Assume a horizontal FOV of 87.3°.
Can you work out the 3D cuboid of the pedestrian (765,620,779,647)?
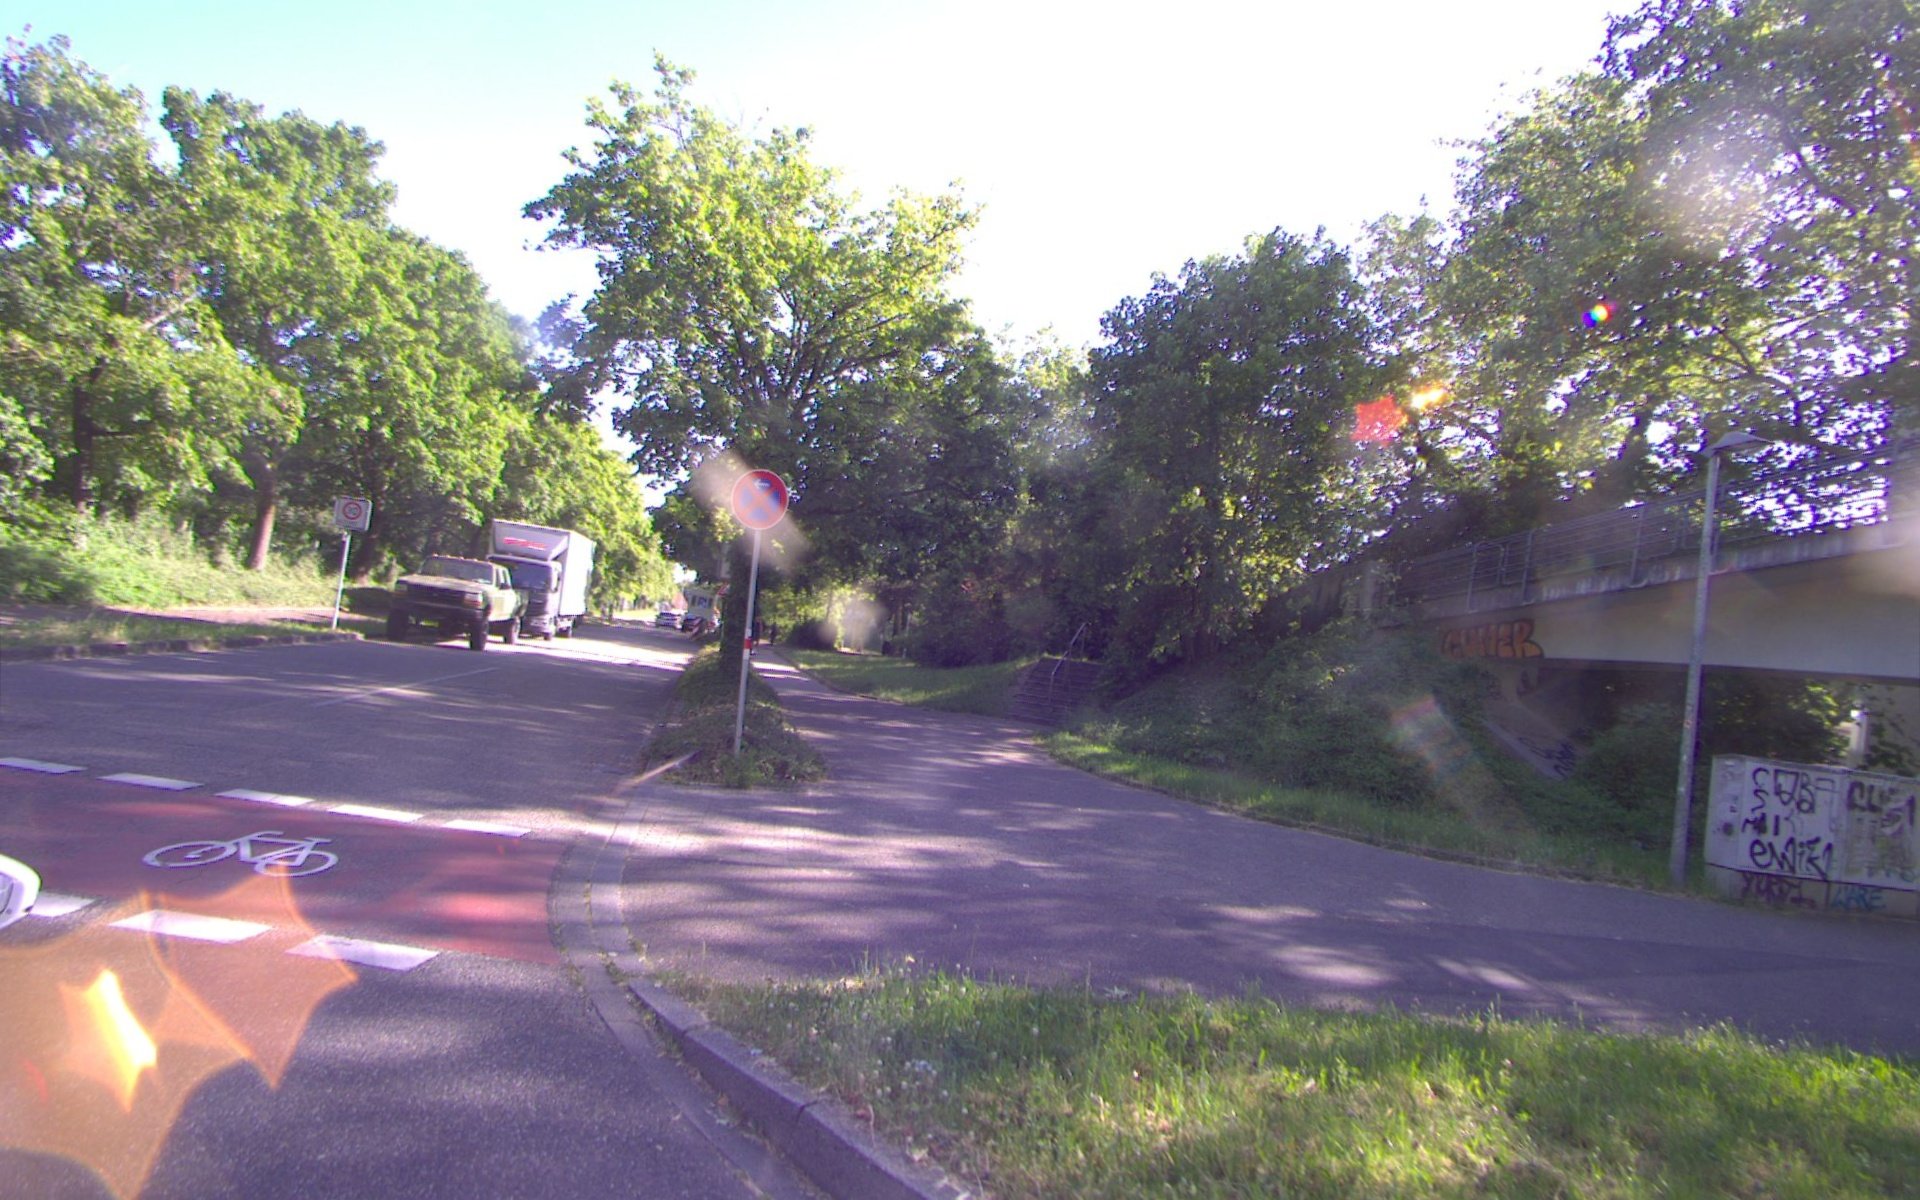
[{"bbox_3d":[-12.503,2.208,66.831,0.640,1.680,0.649,8,-2,-12],"label":"pedestrian"}]

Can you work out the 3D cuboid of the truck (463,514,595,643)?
[{"bbox_3d":[-14.764,-0.574,35.131,2.582,3.668,7.941,8,-3,-14],"label":"truck"}]

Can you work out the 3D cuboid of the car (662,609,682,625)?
[{"bbox_3d":[-32.690,1.952,114.158,1.772,1.527,3.993,8,-3,-13],"label":"car"}]

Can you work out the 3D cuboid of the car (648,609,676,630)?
[{"bbox_3d":[-25.093,1.660,84.813,1.772,1.527,3.993,8,-3,-13],"label":"car"}]

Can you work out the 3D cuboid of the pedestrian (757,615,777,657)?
[{"bbox_3d":[-8.844,1.642,46.099,0.640,1.840,0.649,8,-2,-13],"label":"pedestrian"}]

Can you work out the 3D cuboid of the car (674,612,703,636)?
[{"bbox_3d":[-20.685,1.825,76.791,1.772,1.527,3.993,8,-3,-13],"label":"car"}]

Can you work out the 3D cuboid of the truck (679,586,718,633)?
[{"bbox_3d":[-25.482,0.963,98.291,2.852,3.988,9.983,9,-3,-13],"label":"truck"}]

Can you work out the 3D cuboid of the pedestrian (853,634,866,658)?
[{"bbox_3d":[-7.460,3.405,74.813,0.640,1.680,0.649,8,-2,-12],"label":"pedestrian"}]

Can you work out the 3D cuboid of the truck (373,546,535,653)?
[{"bbox_3d":[-12.571,0.051,25.551,2.087,2.117,6.633,8,-3,-14],"label":"truck"}]
